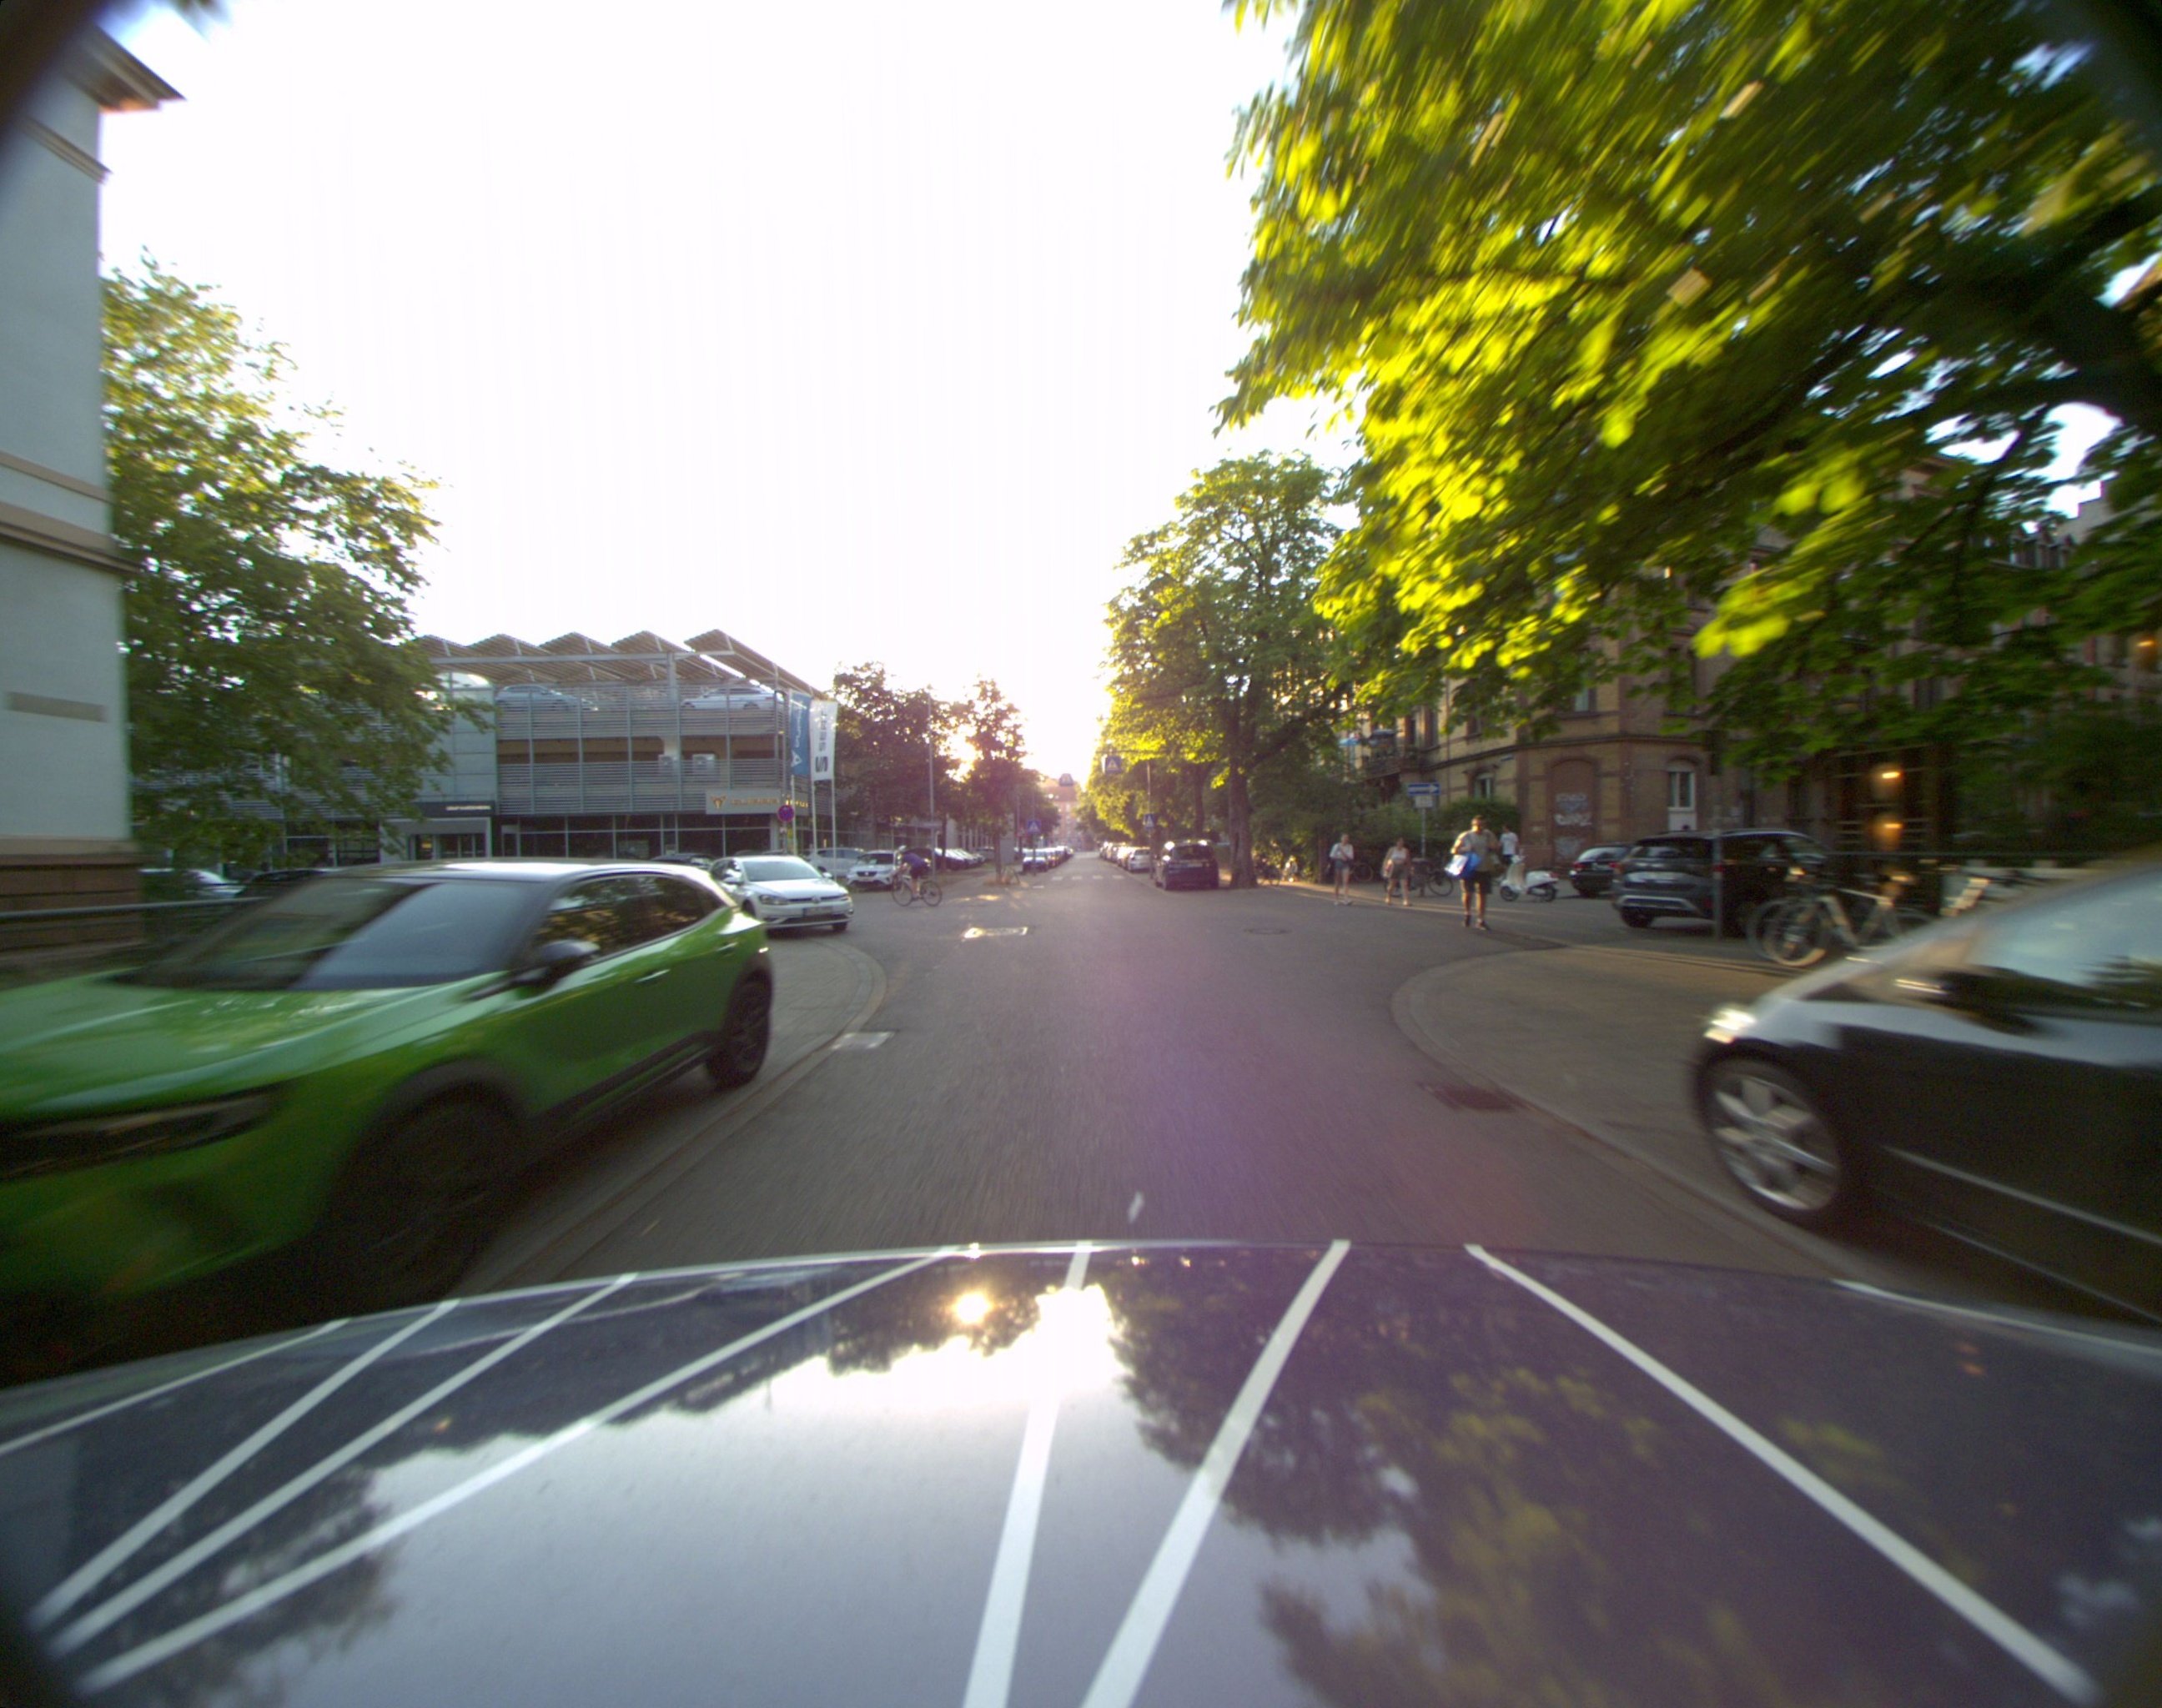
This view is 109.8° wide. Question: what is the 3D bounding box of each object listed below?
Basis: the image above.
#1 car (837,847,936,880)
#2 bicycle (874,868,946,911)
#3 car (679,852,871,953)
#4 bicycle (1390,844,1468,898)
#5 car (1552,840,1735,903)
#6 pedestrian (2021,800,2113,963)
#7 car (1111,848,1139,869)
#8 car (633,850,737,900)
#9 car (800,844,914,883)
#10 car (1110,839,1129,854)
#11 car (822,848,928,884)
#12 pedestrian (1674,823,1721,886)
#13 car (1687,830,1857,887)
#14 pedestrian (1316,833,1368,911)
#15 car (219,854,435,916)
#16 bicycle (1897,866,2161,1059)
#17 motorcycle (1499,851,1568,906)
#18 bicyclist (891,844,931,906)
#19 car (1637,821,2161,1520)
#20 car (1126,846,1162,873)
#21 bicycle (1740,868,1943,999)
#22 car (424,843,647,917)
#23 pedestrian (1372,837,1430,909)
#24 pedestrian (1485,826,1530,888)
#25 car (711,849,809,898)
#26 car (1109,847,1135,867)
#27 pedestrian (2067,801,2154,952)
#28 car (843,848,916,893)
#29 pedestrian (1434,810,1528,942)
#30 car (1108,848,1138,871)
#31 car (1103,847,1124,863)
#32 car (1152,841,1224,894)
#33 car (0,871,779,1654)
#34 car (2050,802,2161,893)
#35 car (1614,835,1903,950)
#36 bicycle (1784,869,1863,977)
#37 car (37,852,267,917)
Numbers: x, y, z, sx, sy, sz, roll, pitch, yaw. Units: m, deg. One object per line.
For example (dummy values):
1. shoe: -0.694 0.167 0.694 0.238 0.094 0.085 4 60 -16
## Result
1. car: -9.962 0.479 39.229 4.589 1.563 1.872 -2 0 -1
2. bicycle: -4.438 0.900 19.639 1.901 1.028 0.540 0 3 29
3. car: -5.875 0.820 14.316 1.815 1.493 4.160 -6 3 -44
4. bicycle: 9.195 0.453 20.124 1.797 1.385 0.518 -1 3 11
5. car: 14.303 0.402 19.344 4.022 1.450 1.784 -1 0 -20
6. pedestrian: 9.151 0.246 7.055 0.430 1.442 0.462 -1 0 -31
7. car: 3.232 0.340 56.073 1.617 1.433 4.310 -2 0 -2
8. car: -14.890 0.746 28.811 1.704 1.583 3.693 -1 3 4
9. car: -10.158 0.419 34.734 4.589 1.634 1.872 -2 0 -1
10. car: 3.932 -0.808 78.438 1.617 1.433 4.104 -2 0 -2
11. car: -9.972 0.573 37.001 4.589 1.607 1.872 -2 0 -1
12. pedestrian: 18.376 0.009 22.661 0.792 1.814 0.687 -2 4 2
13. car: 19.080 0.092 20.976 4.428 1.450 1.577 -1 0 -20
14. pedestrian: 6.299 0.416 18.359 0.688 1.824 1.007 -1 1 -26
15. car: -18.624 0.746 18.884 3.781 1.426 1.633 -1 0 2
16. bicycle: 7.245 0.725 5.611 0.392 1.179 1.957 -4 1 4
17. motorcycle: 10.814 0.574 18.240 0.472 1.249 1.861 -1 0 -2
18. bicyclist: -4.367 0.527 19.529 0.821 1.568 0.511 -1 0 26
19. car: 3.464 0.765 1.580 1.668 1.667 3.846 -4 0 -1
20. car: 3.725 0.296 45.498 1.617 1.433 3.753 -4 0 -3
21. bicycle: 7.656 0.739 7.768 0.392 1.137 1.746 -2 0 4
22. car: -12.390 0.569 17.411 3.939 1.537 1.633 -1 2 3
23. pedestrian: 7.424 0.423 17.675 0.688 1.621 1.050 -1 1 -26
24. pedestrian: 12.995 0.068 23.172 0.925 1.814 0.779 -3 5 -11
25. car: -11.994 0.659 28.697 1.716 1.597 4.126 -2 2 2
26. car: 3.248 0.226 60.741 1.617 1.433 4.104 -2 0 -2
27. pedestrian: 10.245 0.219 7.562 0.430 1.442 0.462 -1 0 -31
28. car: -7.601 0.582 29.028 1.767 1.563 3.901 -1 0 0
29. pedestrian: 6.388 0.324 12.174 0.869 2.002 1.007 -1 1 -20
30. car: 2.786 0.342 51.114 1.617 1.433 4.310 -2 0 -2
31. car: 3.150 0.111 74.017 1.617 1.433 4.104 -2 0 -2
32. car: 3.765 0.437 27.476 1.871 1.678 4.591 -2 0 -1
33. car: -3.132 0.922 3.595 1.735 1.548 3.962 1 0 1
34. car: 23.086 -0.145 16.393 3.491 1.812 1.686 -1 0 -20
35. car: 10.442 0.518 11.744 3.861 1.536 1.630 -1 0 -19
36. bicycle: 8.442 0.731 8.613 1.832 1.092 0.391 -1 0 -38
37. car: -22.676 0.733 18.639 3.683 1.426 1.633 -2 0 2
